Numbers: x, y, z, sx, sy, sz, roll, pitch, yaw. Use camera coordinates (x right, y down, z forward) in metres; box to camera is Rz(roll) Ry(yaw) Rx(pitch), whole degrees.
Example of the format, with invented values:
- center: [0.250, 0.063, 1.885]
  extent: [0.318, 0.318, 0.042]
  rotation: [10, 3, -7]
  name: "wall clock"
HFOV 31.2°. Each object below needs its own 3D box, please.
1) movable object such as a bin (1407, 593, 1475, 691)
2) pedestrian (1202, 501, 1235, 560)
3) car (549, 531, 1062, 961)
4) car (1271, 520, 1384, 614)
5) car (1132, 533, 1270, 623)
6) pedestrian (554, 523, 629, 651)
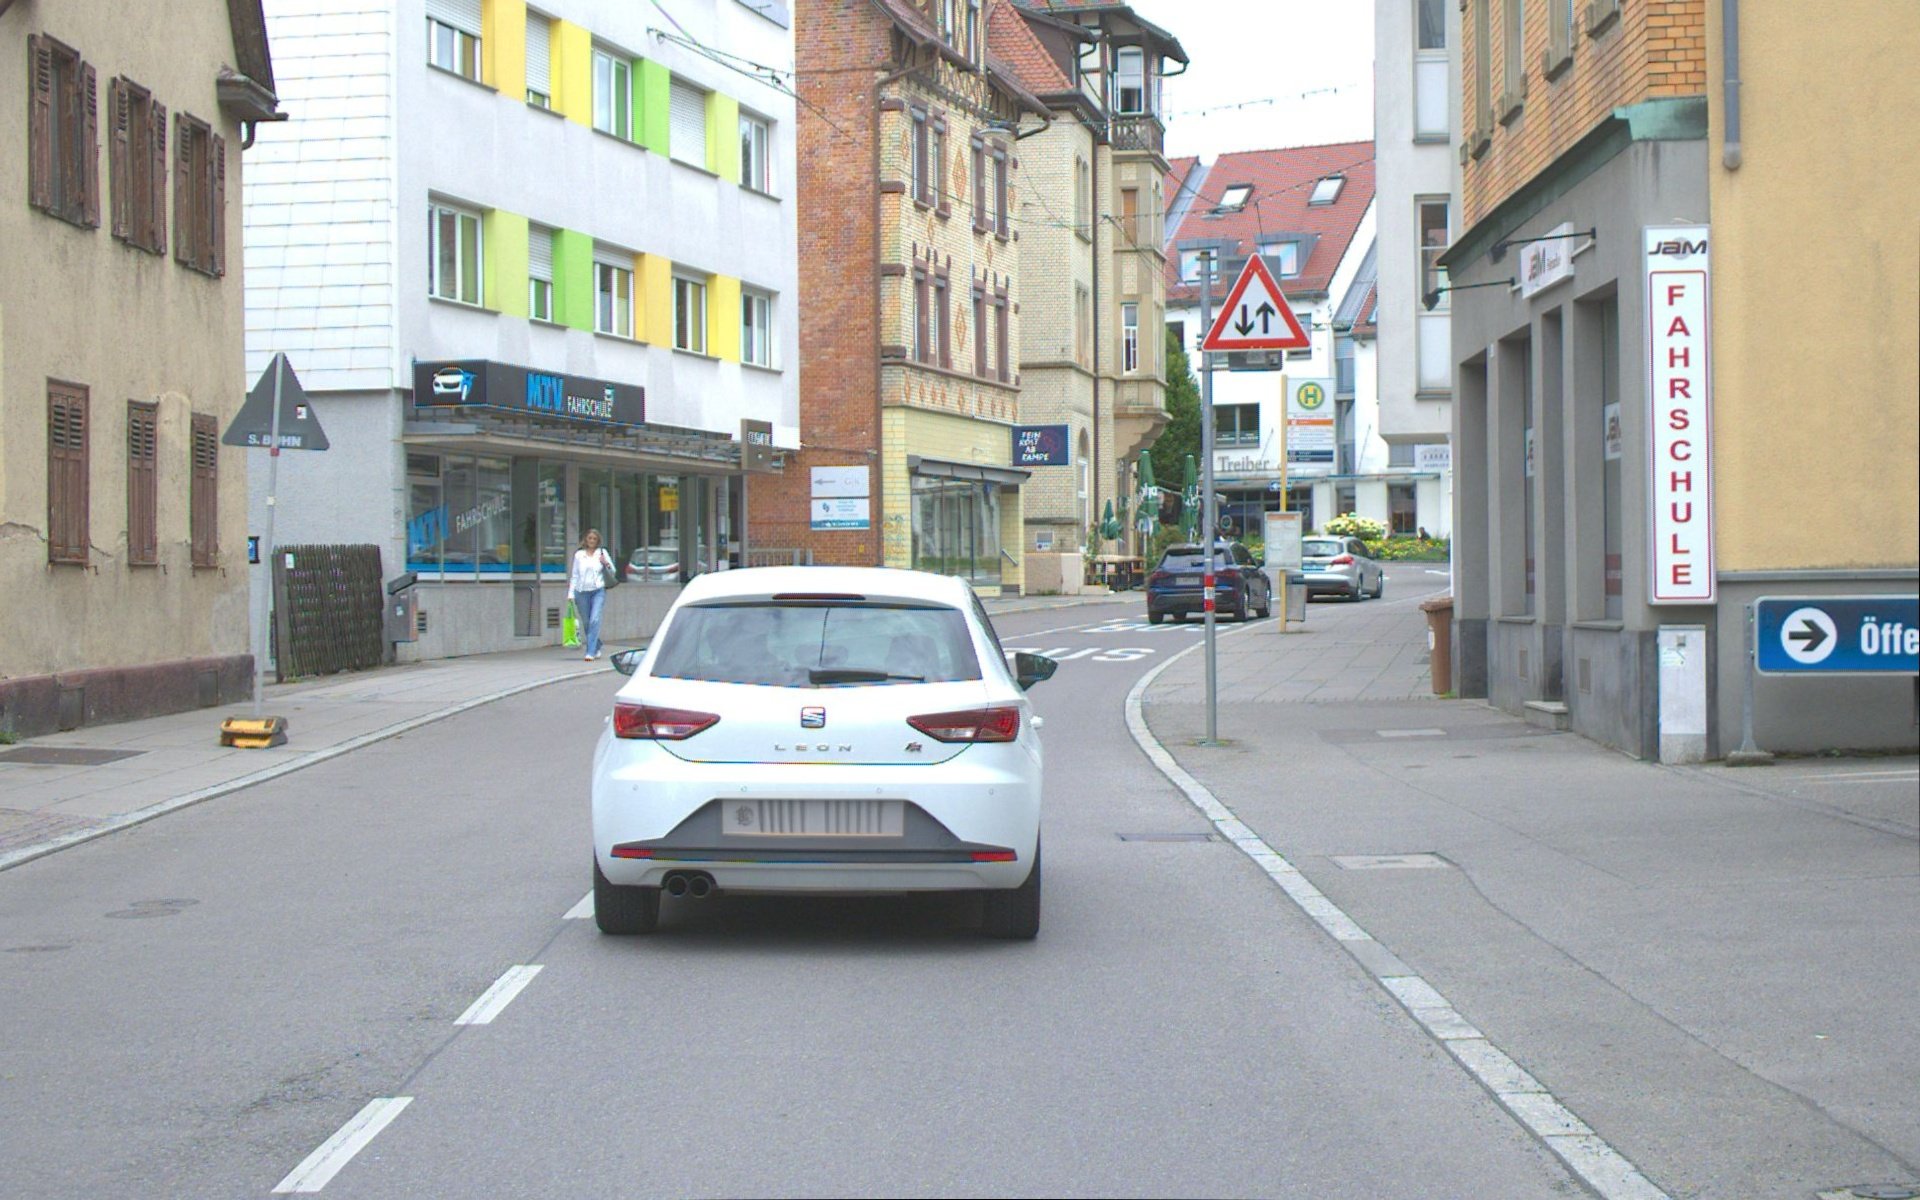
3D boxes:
- center: [4.641, 0.401, 33.202]
  extent: [0.619, 0.918, 0.581]
  rotation: [-1, 1, 5]
  name: "movable object such as a bin"
- center: [6.875, -1.850, 91.547]
  extent: [0.834, 1.546, 0.627]
  rotation: [0, 1, 7]
  name: "pedestrian"
- center: [-0.510, 0.492, 14.451]
  extent: [1.811, 1.475, 3.870]
  rotation: [1, 2, 2]
  name: "car"
- center: [8.130, -0.753, 75.821]
  extent: [1.995, 2.007, 3.998]
  rotation: [0, 1, 13]
  name: "car"
- center: [4.316, -0.417, 61.080]
  extent: [1.812, 1.475, 3.868]
  rotation: [0, 2, 14]
  name: "car"
- center: [-4.836, -0.177, 45.156]
  extent: [0.892, 1.659, 0.861]
  rotation: [-1, 1, -2]
  name: "pedestrian"
